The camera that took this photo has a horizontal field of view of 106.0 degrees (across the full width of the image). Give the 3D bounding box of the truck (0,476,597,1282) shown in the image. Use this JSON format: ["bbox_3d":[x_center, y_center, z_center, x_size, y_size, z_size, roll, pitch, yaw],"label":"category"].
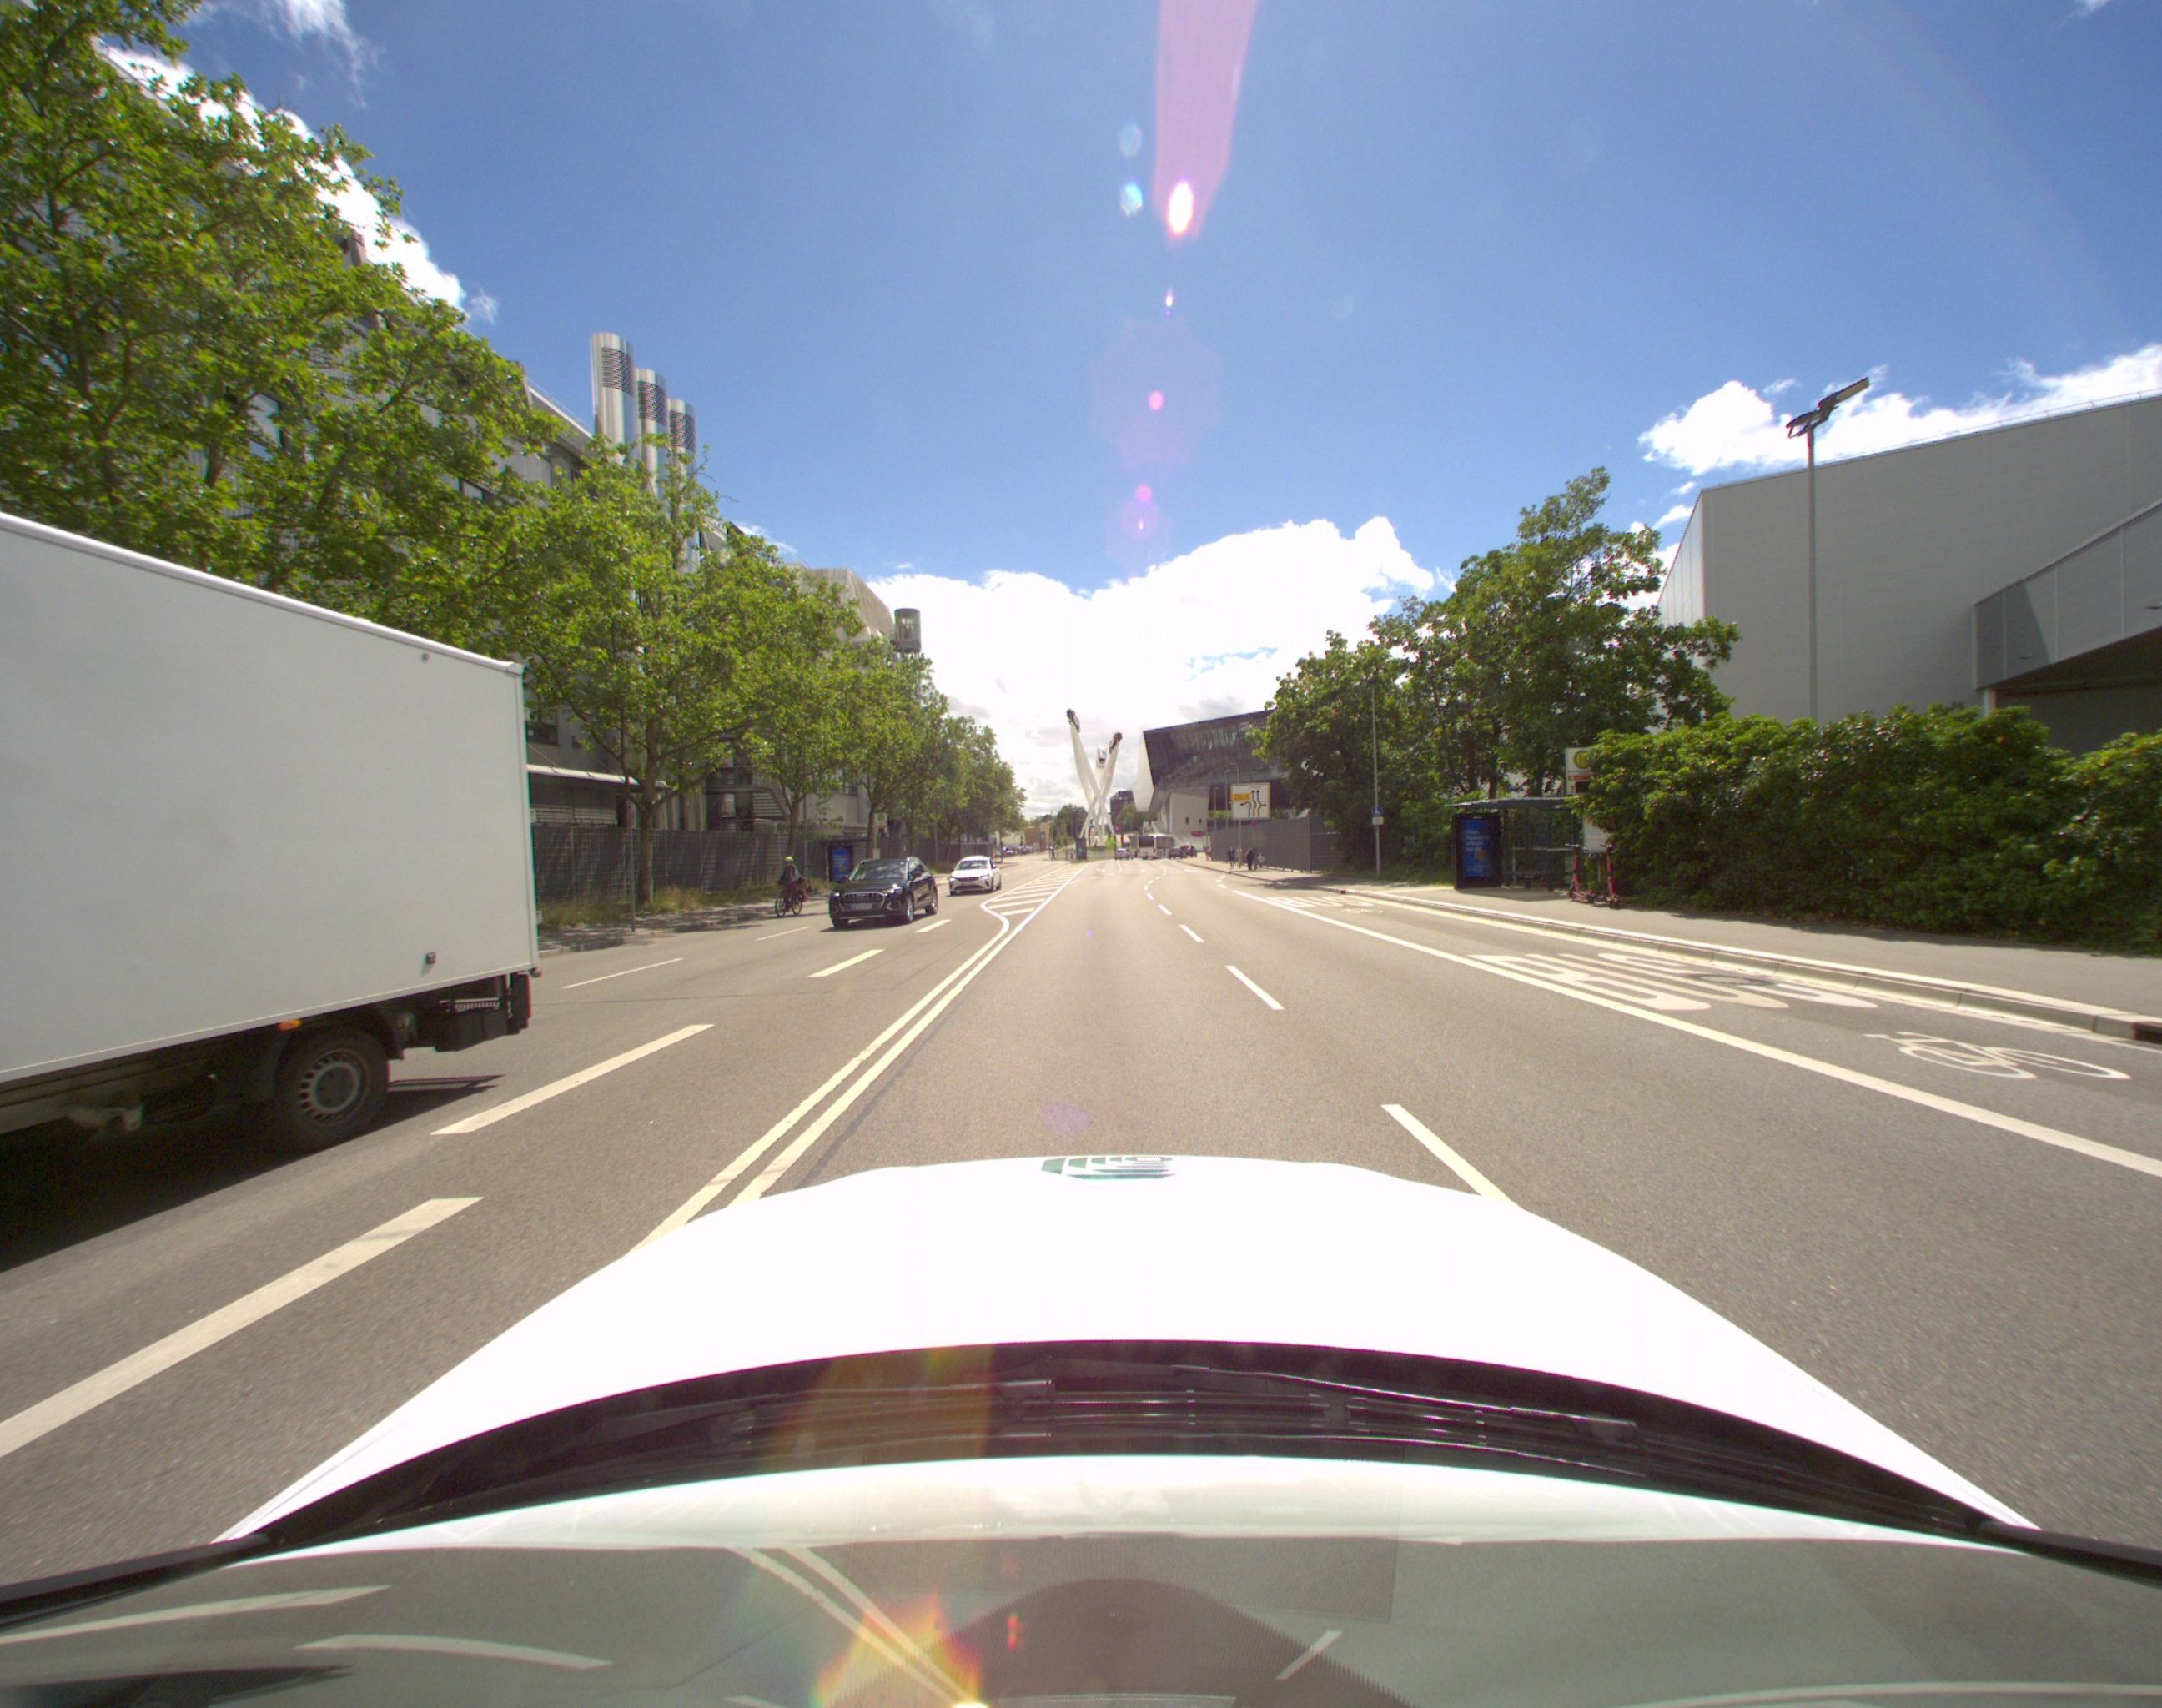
[{"bbox_3d":[-5.420,0.131,3.113,2.443,3.129,7.247,-3,-1,2],"label":"truck"}]

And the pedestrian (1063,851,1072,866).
[{"bbox_3d":[-1.917,0.626,116.348,0.944,2.055,0.956,-1,-1,21],"label":"pedestrian"}]

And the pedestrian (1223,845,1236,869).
[{"bbox_3d":[10.782,0.230,59.032,0.792,1.720,0.732,0,-1,1],"label":"pedestrian"}]

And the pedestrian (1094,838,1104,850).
[{"bbox_3d":[2.970,-1.683,134.598,1.279,1.816,0.985,-5,4,-4],"label":"pedestrian"}]

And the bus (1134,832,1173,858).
[{"bbox_3d":[10.079,-1.191,111.991,3.048,3.362,12.274,0,0,16],"label":"bus"}]

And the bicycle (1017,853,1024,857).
[{"bbox_3d":[-13.278,0.177,178.760,0.486,0.866,1.621,-1,2,42],"label":"bicycle"}]

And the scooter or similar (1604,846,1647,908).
[{"bbox_3d":[11.074,0.443,16.591,0.536,1.163,1.803,-3,0,29],"label":"scooter or similar"}]

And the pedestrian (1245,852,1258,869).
[{"bbox_3d":[11.553,0.451,55.148,0.754,1.148,0.973,0,-1,5],"label":"pedestrian"}]

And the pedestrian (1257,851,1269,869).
[{"bbox_3d":[12.339,0.408,55.310,0.710,1.207,0.599,0,-1,5],"label":"pedestrian"}]

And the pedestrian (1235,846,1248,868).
[{"bbox_3d":[11.618,0.218,59.031,0.792,1.597,0.732,0,-1,1],"label":"pedestrian"}]

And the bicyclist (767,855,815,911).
[{"bbox_3d":[-8.877,0.867,24.987,0.953,1.598,1.222,-4,-1,-1],"label":"bicyclist"}]

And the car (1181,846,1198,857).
[{"bbox_3d":[15.430,-0.337,115.838,1.979,1.636,4.016,0,0,15],"label":"car"}]

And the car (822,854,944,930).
[{"bbox_3d":[-4.796,0.857,20.370,1.733,1.581,4.269,-4,0,2],"label":"car"}]

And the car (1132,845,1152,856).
[{"bbox_3d":[9.131,-0.462,121.125,1.977,1.636,4.020,-1,0,20],"label":"car"}]

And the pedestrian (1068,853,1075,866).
[{"bbox_3d":[-1.303,0.756,113.286,0.864,1.774,1.031,0,-1,-12],"label":"pedestrian"}]

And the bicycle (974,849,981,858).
[{"bbox_3d":[-11.156,-0.031,87.596,0.294,1.006,1.256,0,-1,12],"label":"bicycle"}]

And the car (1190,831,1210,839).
[{"bbox_3d":[27.471,-4.366,188.294,2.011,1.394,4.461,-6,10,-41],"label":"car"}]

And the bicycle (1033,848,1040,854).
[{"bbox_3d":[-10.139,-0.769,185.177,1.600,1.316,0.493,0,-1,1],"label":"bicycle"}]

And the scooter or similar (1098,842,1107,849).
[{"bbox_3d":[3.614,-1.358,134.844,1.397,1.025,0.549,-4,6,-4],"label":"scooter or similar"}]

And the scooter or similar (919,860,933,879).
[{"bbox_3d":[-10.895,1.075,57.248,0.520,1.234,1.321,2,1,9],"label":"scooter or similar"}]

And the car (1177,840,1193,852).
[{"bbox_3d":[17.215,-1.348,134.374,1.979,1.932,4.257,0,0,15],"label":"car"}]

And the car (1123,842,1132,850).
[{"bbox_3d":[10.785,-1.886,189.380,1.985,1.635,4.661,0,2,4],"label":"car"}]

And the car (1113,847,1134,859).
[{"bbox_3d":[5.601,-0.113,107.985,1.979,1.636,4.016,0,0,15],"label":"car"}]

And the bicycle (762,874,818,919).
[{"bbox_3d":[-8.858,1.256,24.922,0.733,1.234,2.473,-3,0,0],"label":"bicycle"}]

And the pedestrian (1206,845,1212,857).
[{"bbox_3d":[17.912,-0.431,113.971,0.655,1.608,0.826,0,-1,13],"label":"pedestrian"}]

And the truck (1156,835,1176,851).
[{"bbox_3d":[13.958,-1.820,133.315,2.189,2.516,5.157,-1,0,19],"label":"truck"}]

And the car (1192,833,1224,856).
[{"bbox_3d":[20.865,-1.491,133.368,3.307,3.504,9.389,-1,0,21],"label":"car"}]

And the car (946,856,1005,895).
[{"bbox_3d":[-4.306,0.841,33.778,1.685,1.415,4.148,-3,0,2],"label":"car"}]

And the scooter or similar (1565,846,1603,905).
[{"bbox_3d":[10.875,0.433,17.646,0.536,1.163,2.141,-3,0,29],"label":"scooter or similar"}]

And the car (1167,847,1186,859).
[{"bbox_3d":[12.723,-0.152,108.289,1.979,1.636,4.016,0,1,15],"label":"car"}]

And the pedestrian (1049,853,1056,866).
[{"bbox_3d":[-4.080,0.776,117.626,0.864,1.774,1.031,0,-1,-12],"label":"pedestrian"}]

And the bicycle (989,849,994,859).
[{"bbox_3d":[-10.341,0.010,94.009,0.295,1.131,1.487,0,-1,5],"label":"bicycle"}]

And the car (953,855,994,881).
[{"bbox_3d":[-7.076,0.897,54.169,1.870,1.505,4.194,-3,0,3],"label":"car"}]
